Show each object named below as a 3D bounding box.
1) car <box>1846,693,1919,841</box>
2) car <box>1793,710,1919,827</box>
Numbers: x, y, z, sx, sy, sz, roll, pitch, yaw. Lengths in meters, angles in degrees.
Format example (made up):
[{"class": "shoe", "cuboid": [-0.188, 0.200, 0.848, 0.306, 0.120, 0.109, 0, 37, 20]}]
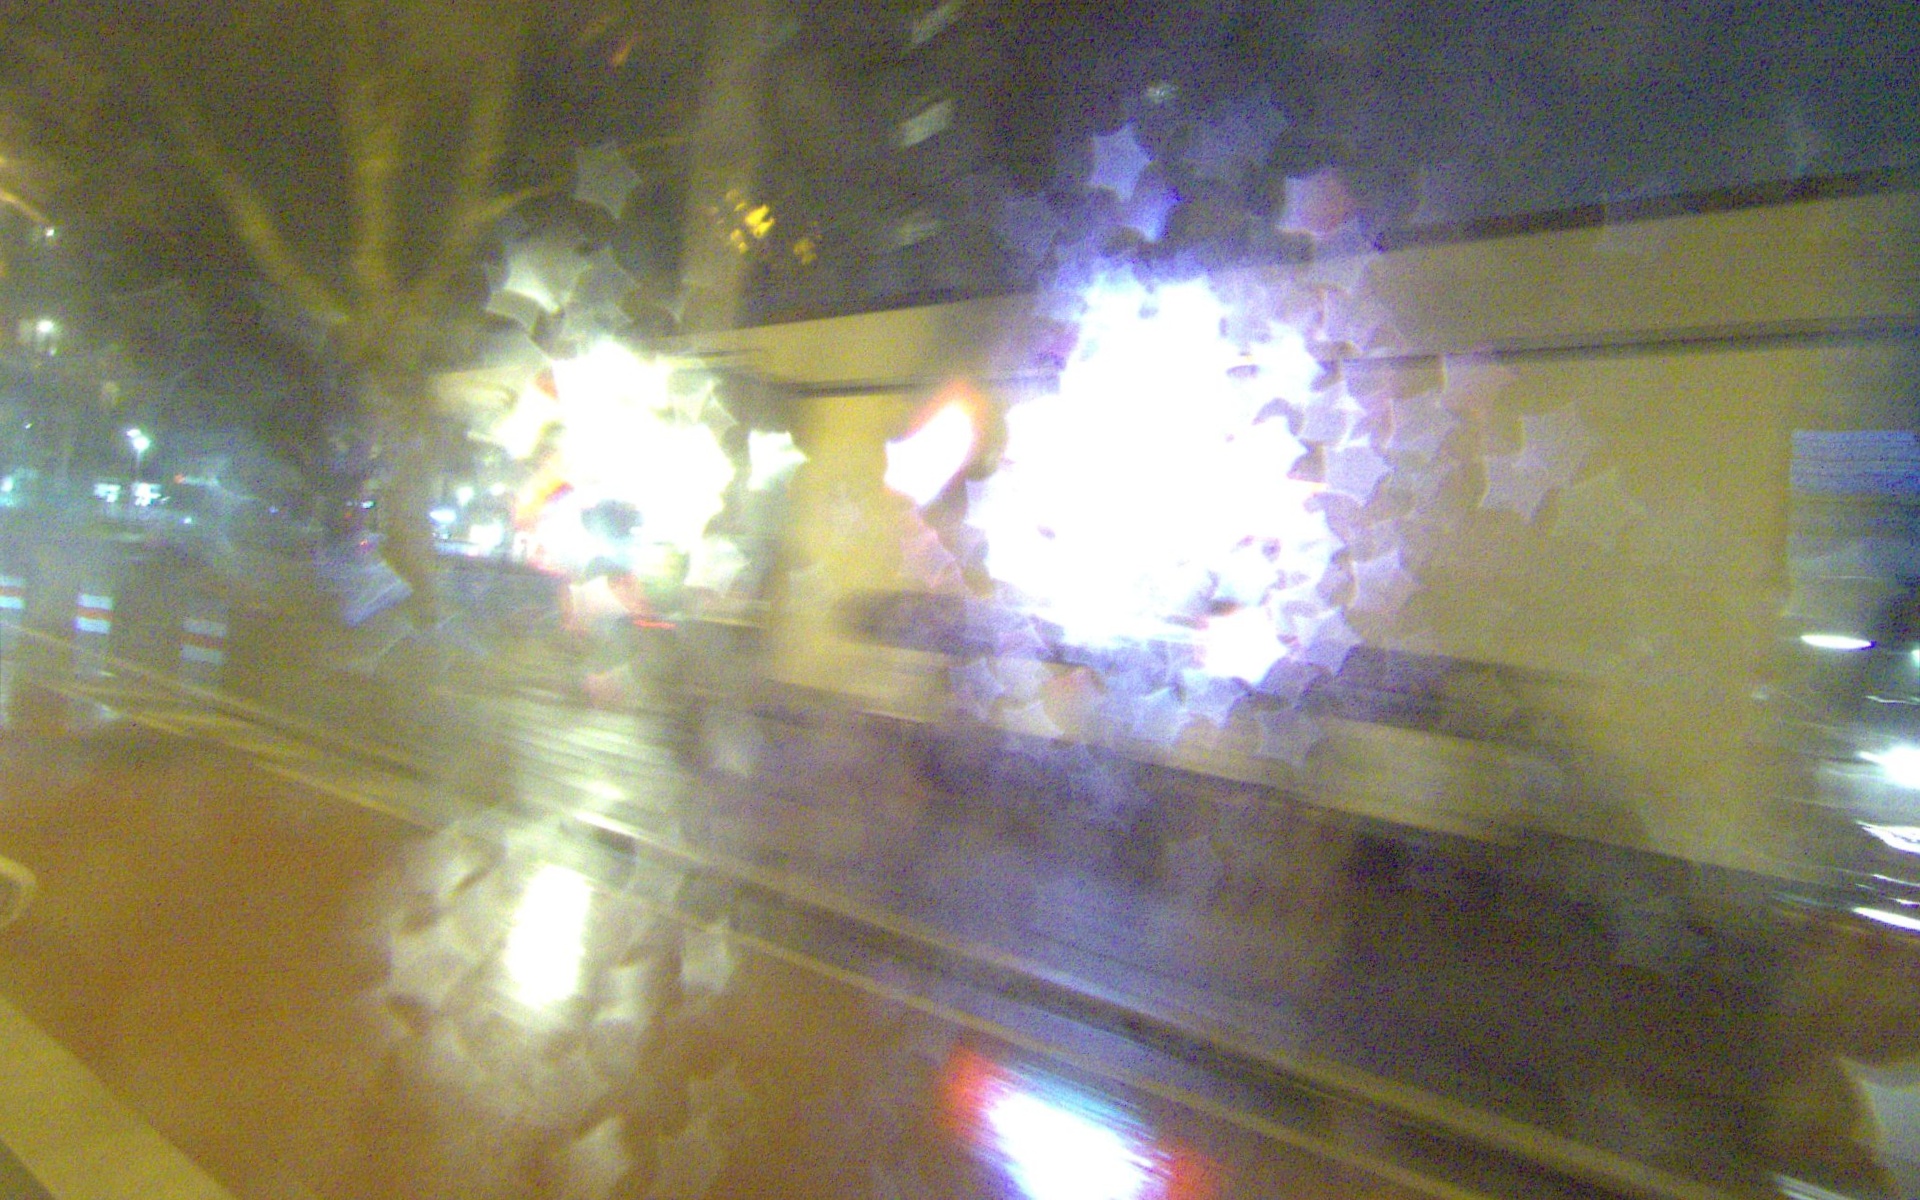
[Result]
[{"class": "car", "cuboid": [14.148, 2.377, 13.999, 1.897, 1.893, 3.993, 6, -1, 32]}, {"class": "car", "cuboid": [16.480, 2.963, 17.922, 1.811, 1.693, 3.993, 6, -1, 32]}]
